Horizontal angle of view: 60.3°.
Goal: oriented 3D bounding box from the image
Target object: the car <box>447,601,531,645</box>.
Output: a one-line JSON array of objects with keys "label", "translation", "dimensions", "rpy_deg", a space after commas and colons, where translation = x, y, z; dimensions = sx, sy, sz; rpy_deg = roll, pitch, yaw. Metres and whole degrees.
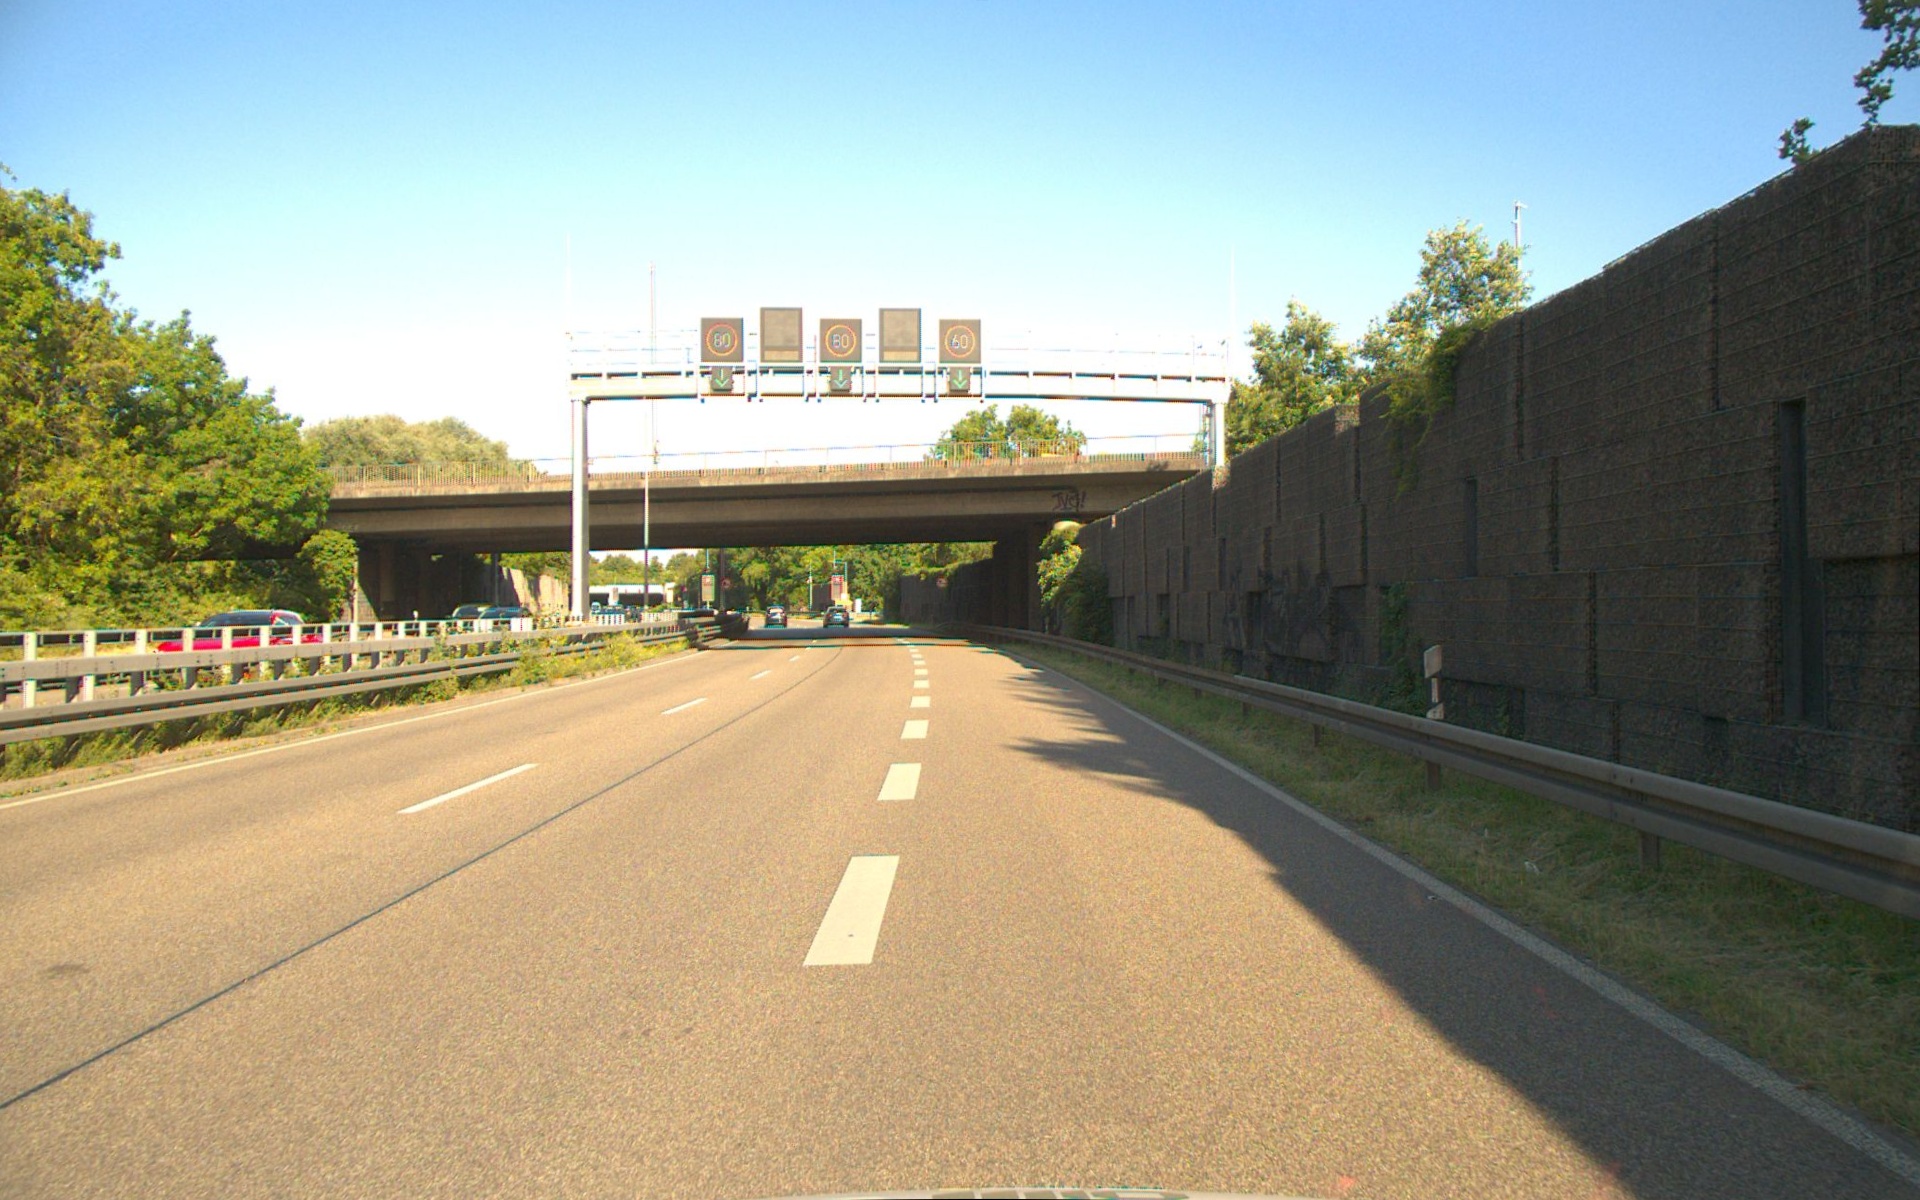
[{"label": "car", "translation": [-18.493, 0.884, 65.191], "dimensions": [1.953, 1.669, 4.720], "rpy_deg": [0, 0, 0]}]

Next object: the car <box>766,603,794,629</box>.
[{"label": "car", "translation": [-13.880, 1.195, 127.724], "dimensions": [1.954, 1.959, 3.997], "rpy_deg": [0, 0, -4]}]

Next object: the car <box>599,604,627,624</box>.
[{"label": "car", "translation": [-32.211, 1.311, 153.646], "dimensions": [1.955, 1.735, 4.556], "rpy_deg": [-1, 0, -6]}]

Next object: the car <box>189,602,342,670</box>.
[{"label": "car", "translation": [-17.957, 0.891, 43.031], "dimensions": [1.953, 1.669, 4.720], "rpy_deg": [0, 0, 0]}]

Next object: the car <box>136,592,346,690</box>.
[{"label": "car", "translation": [-13.821, 0.745, 32.158], "dimensions": [1.953, 1.669, 4.720], "rpy_deg": [-3, 0, 0]}]

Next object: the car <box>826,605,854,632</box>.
[{"label": "car", "translation": [-8.690, 1.328, 119.874], "dimensions": [1.954, 1.959, 3.997], "rpy_deg": [0, 0, -4]}]

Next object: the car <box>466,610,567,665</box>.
[{"label": "car", "translation": [-14.200, 1.161, 53.252], "dimensions": [1.953, 1.669, 4.720], "rpy_deg": [0, 0, 0]}]

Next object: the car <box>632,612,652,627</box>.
[{"label": "car", "translation": [-37.535, 2.308, 195.308], "dimensions": [1.955, 1.624, 4.422], "rpy_deg": [0, 0, -6]}]
